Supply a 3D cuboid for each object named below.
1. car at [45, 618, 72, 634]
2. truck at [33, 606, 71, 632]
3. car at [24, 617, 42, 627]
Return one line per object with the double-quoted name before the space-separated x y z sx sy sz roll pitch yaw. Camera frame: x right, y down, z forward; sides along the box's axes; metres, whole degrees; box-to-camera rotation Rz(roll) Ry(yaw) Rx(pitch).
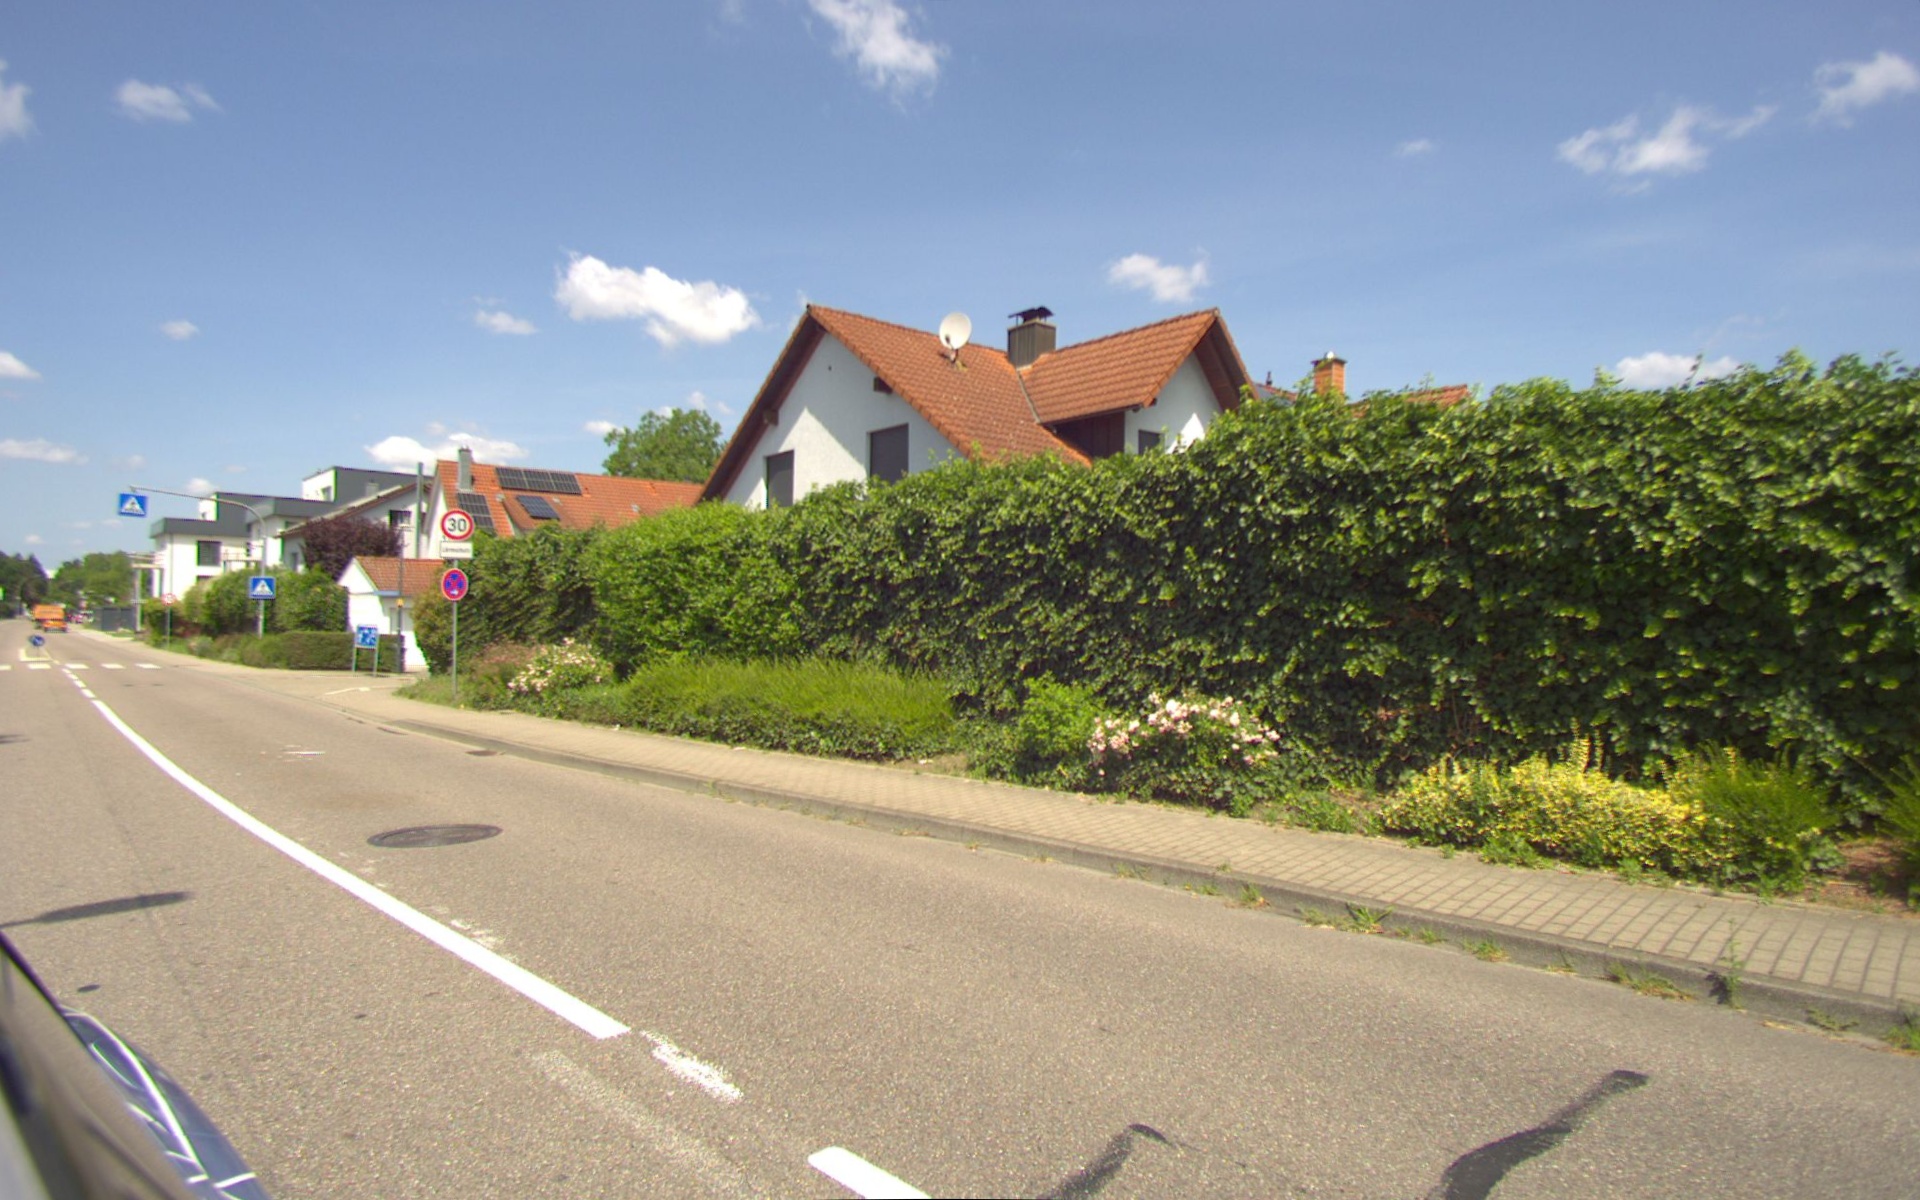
"car" -88.008 2.578 98.790 1.773 1.500 3.616 3 -3 -44
"truck" -101.805 2.120 113.459 2.823 2.731 6.797 3 -3 -44
"car" -150.375 3.528 164.166 1.702 1.504 3.768 3 -3 -36
